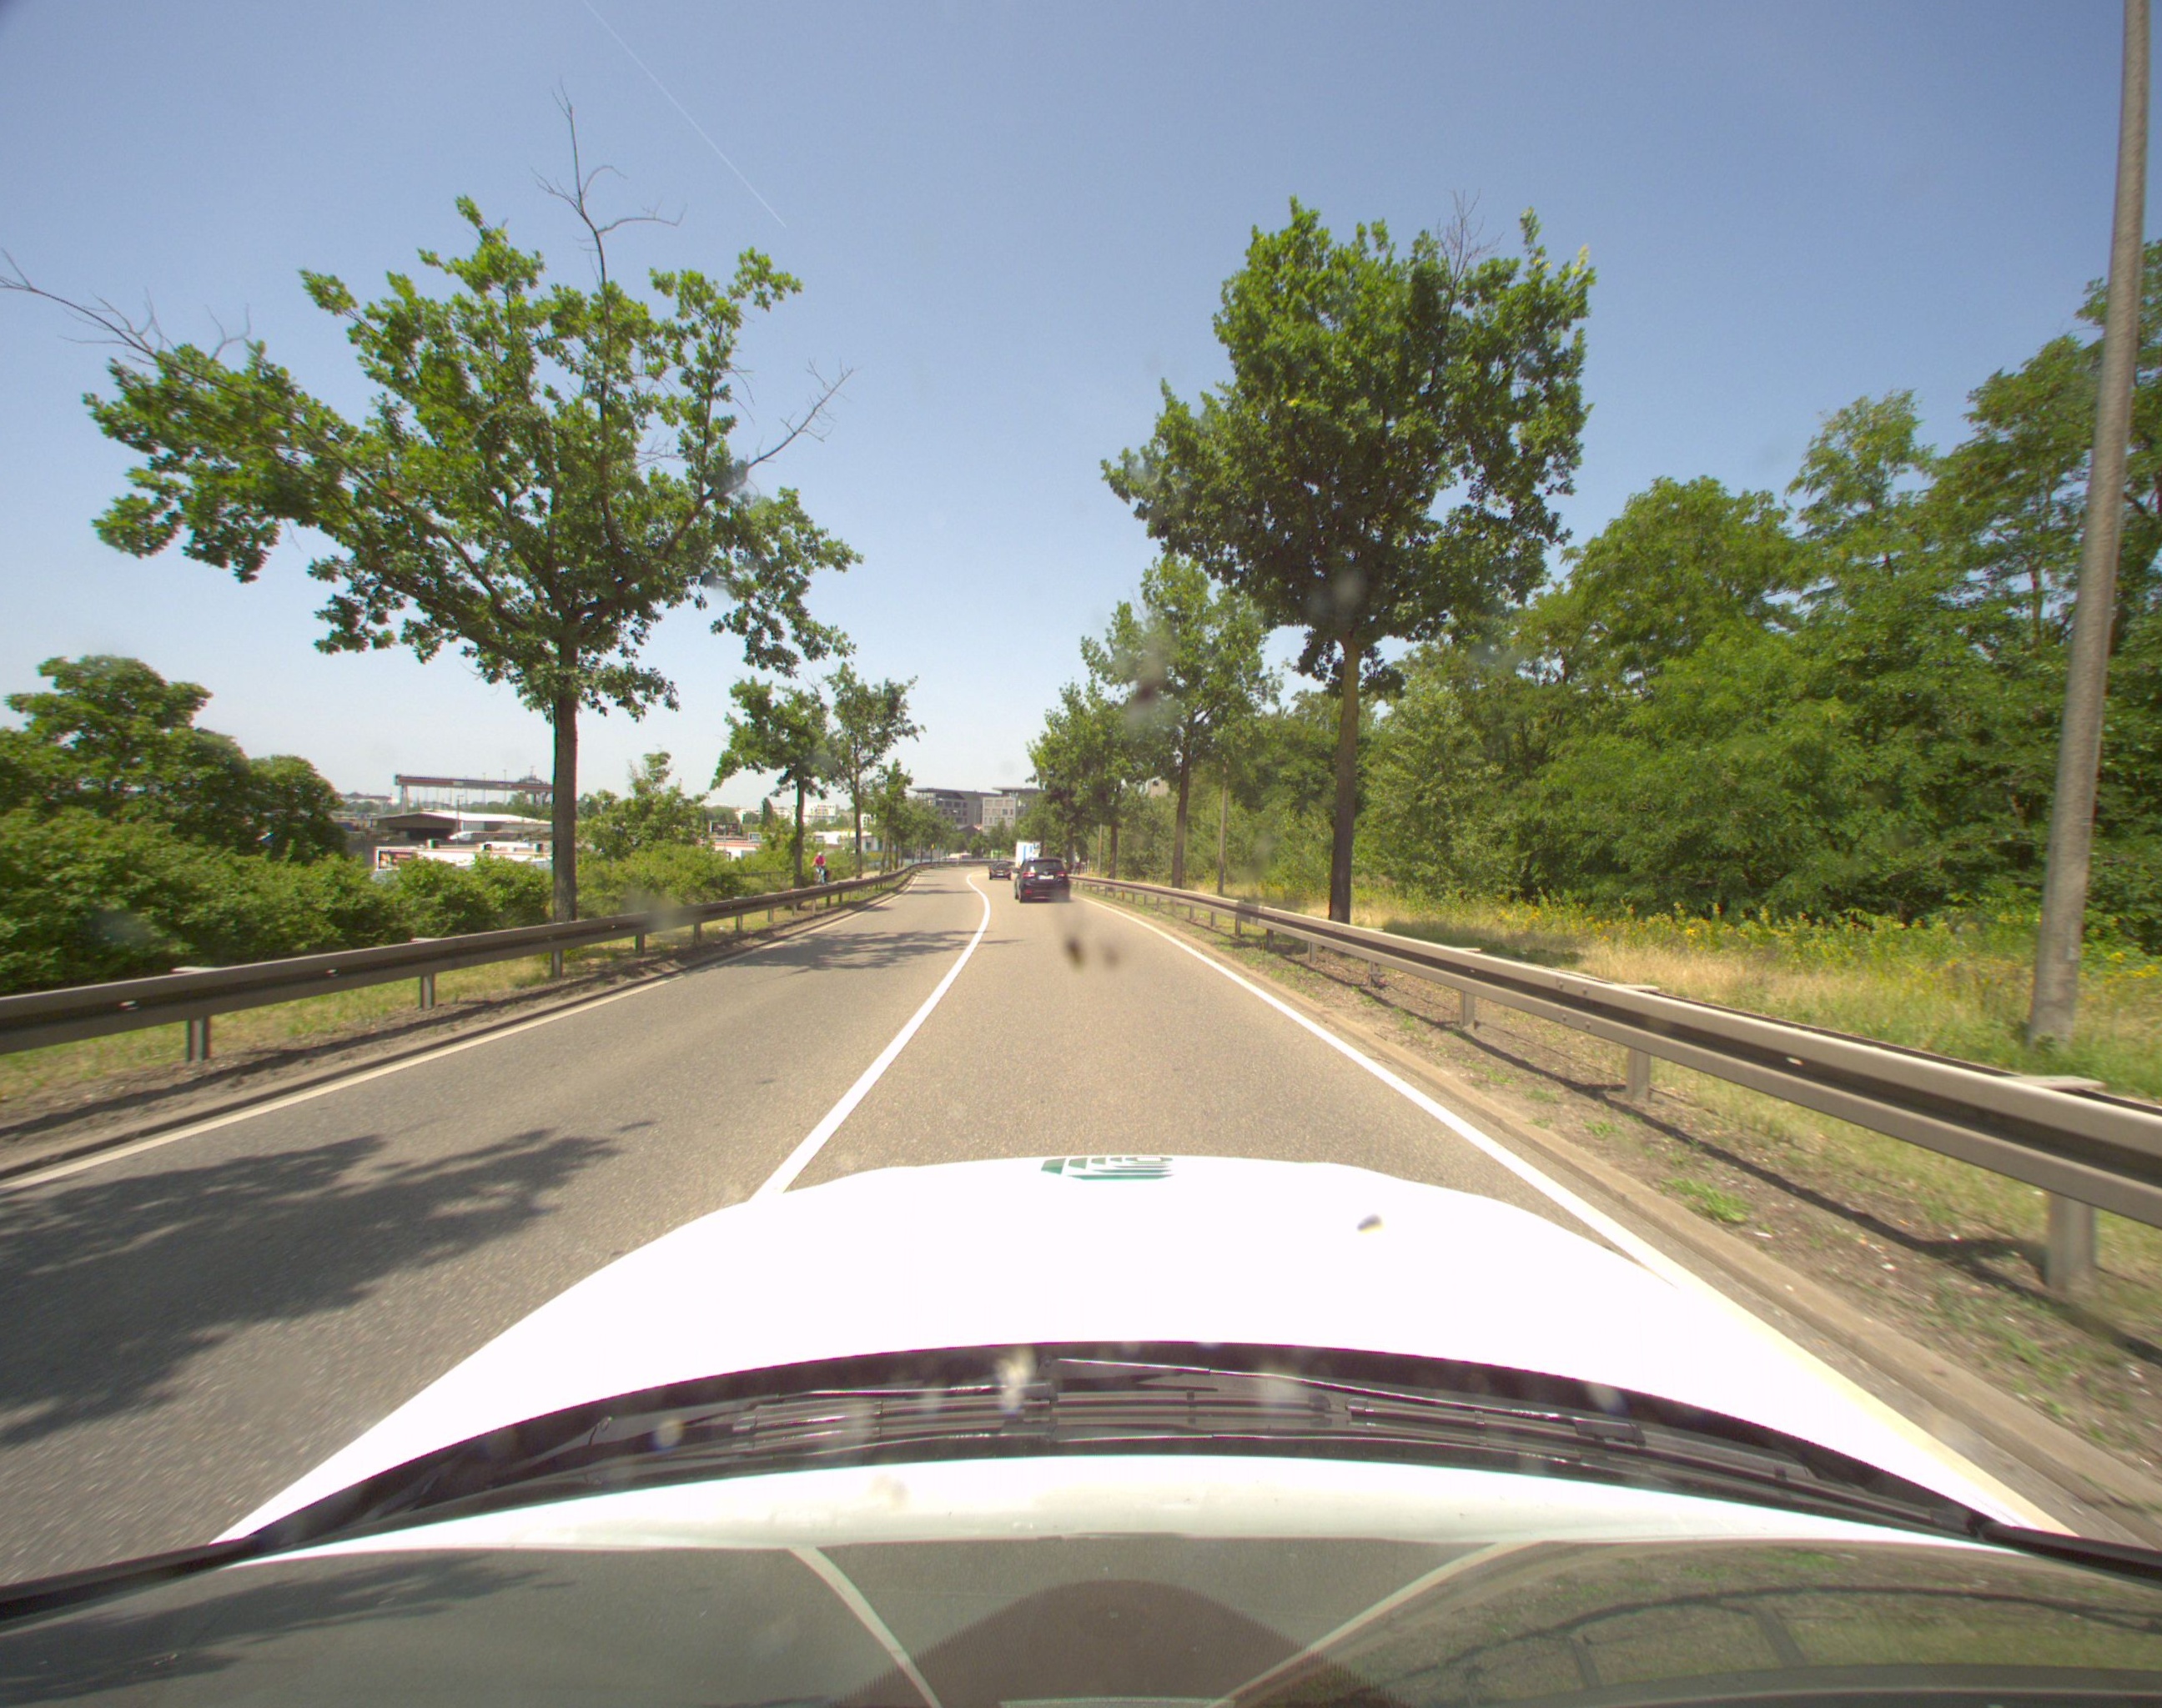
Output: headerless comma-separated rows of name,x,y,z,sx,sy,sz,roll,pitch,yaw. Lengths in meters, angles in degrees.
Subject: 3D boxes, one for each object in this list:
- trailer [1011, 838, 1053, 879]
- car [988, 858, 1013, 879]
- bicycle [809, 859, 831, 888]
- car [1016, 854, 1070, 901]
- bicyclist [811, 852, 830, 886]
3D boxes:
trailer,-5.611,0.406,96.186,3.065,4.368,14.788,2,1,3
car,-6.429,1.160,65.426,1.954,1.634,4.272,1,-1,-5
bicycle,-11.802,0.888,36.901,0.734,1.281,2.038,1,-1,-12
car,-1.457,0.833,29.710,1.765,1.599,4.069,0,-1,-6
bicyclist,-11.792,0.672,36.909,0.742,1.489,0.753,1,-1,-12
